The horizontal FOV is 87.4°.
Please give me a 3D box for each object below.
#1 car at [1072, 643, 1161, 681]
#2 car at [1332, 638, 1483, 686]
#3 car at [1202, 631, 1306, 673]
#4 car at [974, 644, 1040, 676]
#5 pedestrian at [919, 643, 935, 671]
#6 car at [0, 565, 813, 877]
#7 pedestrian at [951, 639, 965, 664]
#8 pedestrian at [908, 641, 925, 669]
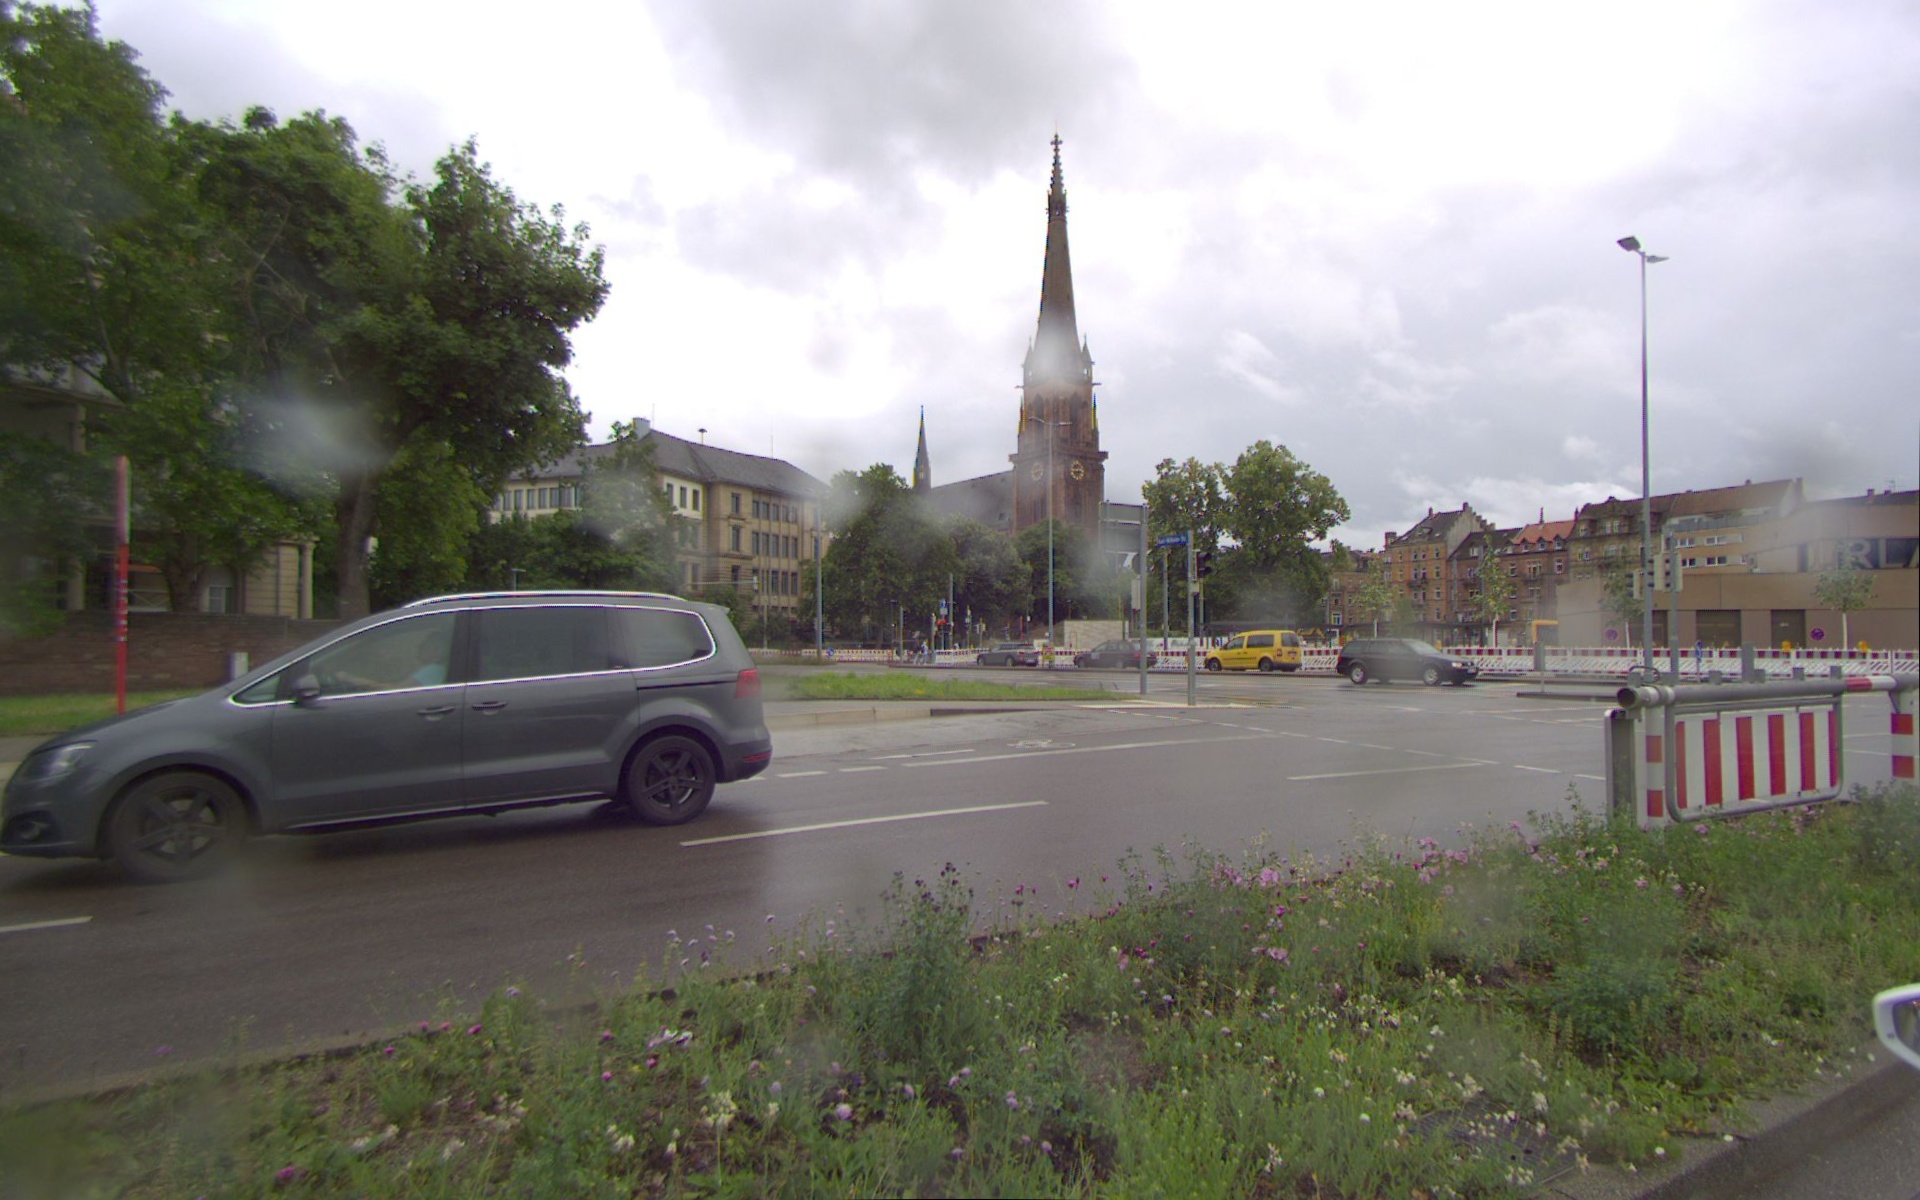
[{"bbox_3d":[7.650,3.000,49.379,1.695,1.728,4.414,1,-2,-37],"label":"car"},{"bbox_3d":[14.163,1.920,31.977,1.602,1.420,4.163,1,-2,-36],"label":"car"},{"bbox_3d":[12.516,2.187,42.959,1.695,1.728,4.109,1,-2,-37],"label":"car"},{"bbox_3d":[2.621,3.371,56.722,1.695,1.728,3.780,1,-2,-37],"label":"car"},{"bbox_3d":[-2.460,4.254,74.896,0.945,2.040,0.852,1,-2,-30],"label":"pedestrian"},{"bbox_3d":[-3.617,0.726,7.432,4.712,1.700,1.764,1,-2,-30],"label":"car"},{"bbox_3d":[-0.156,3.673,71.972,0.765,1.801,0.720,1,-2,-30],"label":"pedestrian"},{"bbox_3d":[-3.264,4.143,75.523,0.945,2.040,0.852,1,-2,-30],"label":"pedestrian"}]
